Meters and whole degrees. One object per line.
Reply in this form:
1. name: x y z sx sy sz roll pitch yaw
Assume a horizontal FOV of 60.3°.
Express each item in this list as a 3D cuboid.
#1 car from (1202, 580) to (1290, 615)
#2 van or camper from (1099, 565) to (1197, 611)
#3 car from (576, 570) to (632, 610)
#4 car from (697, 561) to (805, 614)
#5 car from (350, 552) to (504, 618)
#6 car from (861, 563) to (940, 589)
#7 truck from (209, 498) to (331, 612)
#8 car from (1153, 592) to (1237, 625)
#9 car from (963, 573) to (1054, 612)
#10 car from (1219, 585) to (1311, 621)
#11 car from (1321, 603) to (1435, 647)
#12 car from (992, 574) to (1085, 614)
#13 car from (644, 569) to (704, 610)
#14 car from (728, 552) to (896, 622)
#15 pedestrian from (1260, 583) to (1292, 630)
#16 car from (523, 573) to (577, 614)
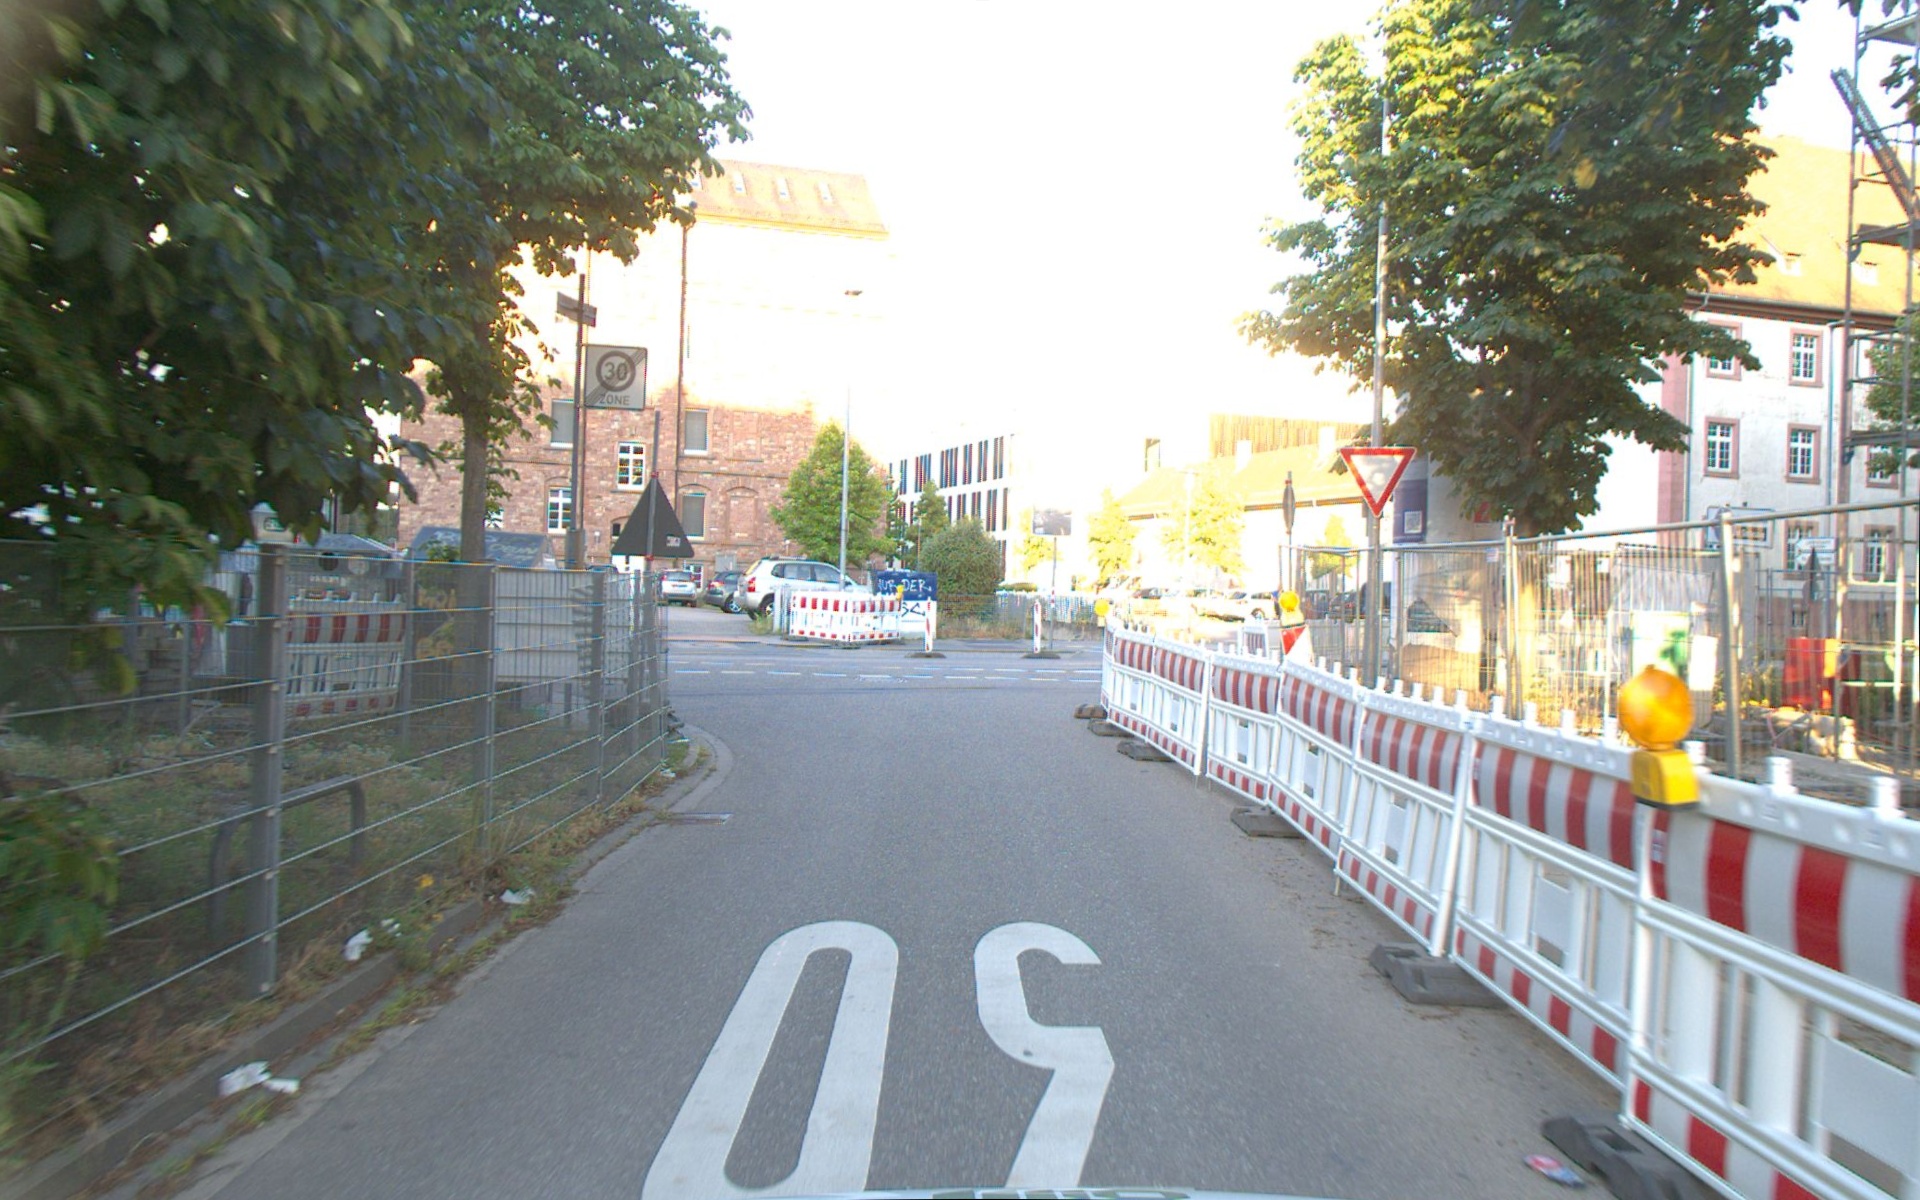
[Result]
1. car: 13.209 -0.114 76.353 3.687 1.470 1.676 2 0 -22
2. van or camper: 9.918 -0.618 87.130 4.892 2.279 1.676 2 0 -22
3. car: -14.625 -0.433 67.829 1.867 1.564 4.159 1 1 -17
4. car: -7.227 -0.438 57.116 3.423 1.738 1.659 1 0 -19
5. car: -13.315 -0.375 41.482 3.573 1.530 1.630 1 0 -17
6. car: -3.254 -1.302 90.387 3.927 1.336 1.867 1 0 -19
7. truck: -17.406 -1.099 41.959 2.297 2.662 4.950 1 0 -17
8. car: 11.359 0.410 79.865 3.687 1.470 1.676 2 0 -22
9. car: 2.177 -0.326 74.373 3.687 1.631 1.676 2 0 -22
10. car: 13.601 0.141 73.773 3.687 1.470 1.676 2 0 -22
11. car: 16.408 0.966 65.011 3.930 1.600 1.987 2 0 -22
12. car: 3.409 -0.253 71.721 3.687 1.631 1.676 2 0 -22
13. car: -11.891 -0.455 68.588 1.867 1.564 4.159 1 1 -17
14. car: -3.987 -0.340 44.387 4.205 1.738 1.693 1 0 -19
15. pedestrian: 11.608 0.239 60.688 0.738 1.671 1.010 2 0 -17
16. car: -16.670 -0.282 67.128 1.867 1.564 4.159 1 1 -17
